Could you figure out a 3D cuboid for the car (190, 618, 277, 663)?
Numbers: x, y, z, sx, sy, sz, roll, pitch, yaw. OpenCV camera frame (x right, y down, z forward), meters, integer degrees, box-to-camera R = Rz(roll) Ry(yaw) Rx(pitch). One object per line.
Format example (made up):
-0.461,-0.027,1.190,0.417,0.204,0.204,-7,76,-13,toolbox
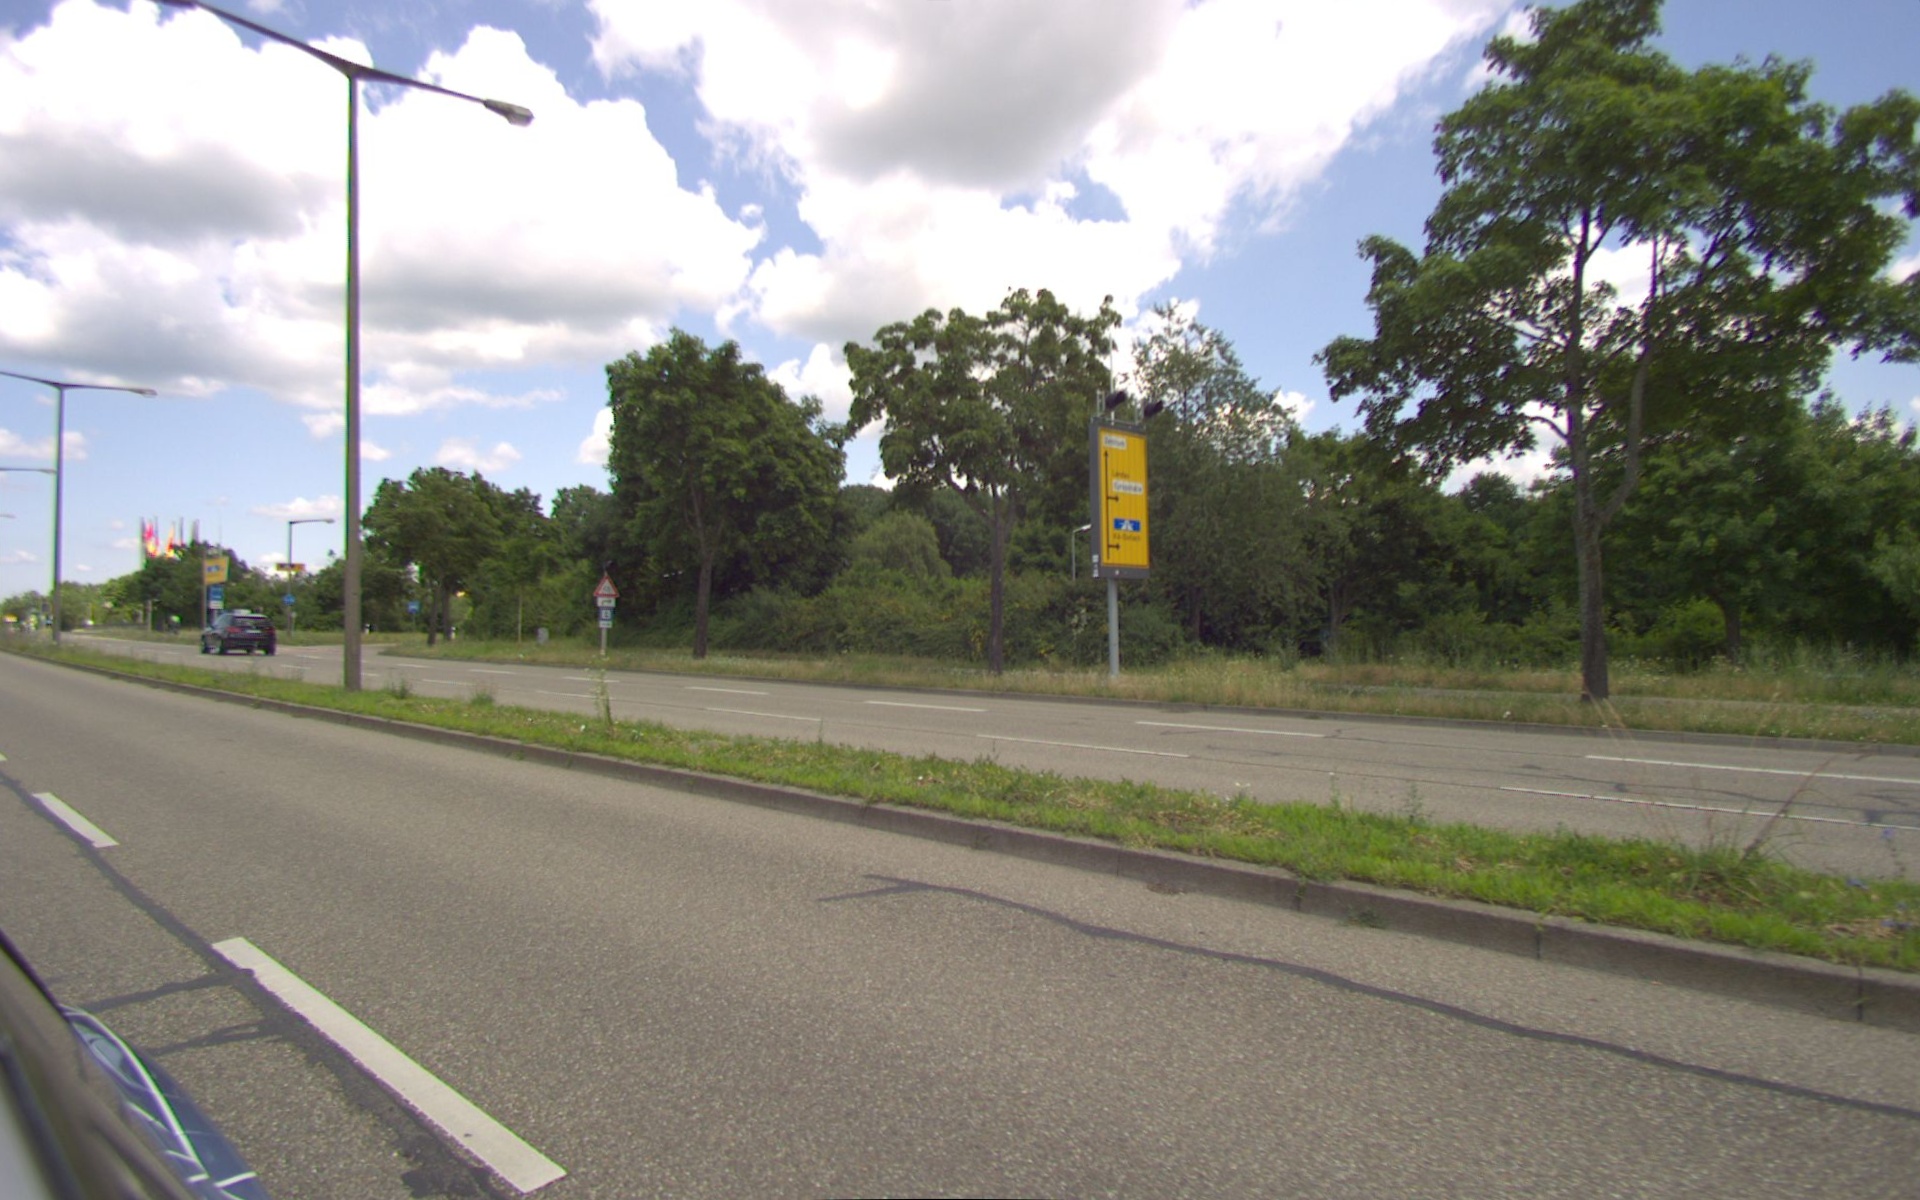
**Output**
-30.893,1.708,42.977,4.725,1.804,1.857,-1,-4,40,car

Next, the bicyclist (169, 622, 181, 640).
-60.167,2.376,77.582,1.106,1.282,0.515,-3,-2,40,bicyclist

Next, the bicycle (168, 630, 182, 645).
-60.190,2.868,77.623,1.906,1.076,0.427,-3,-2,40,bicycle
